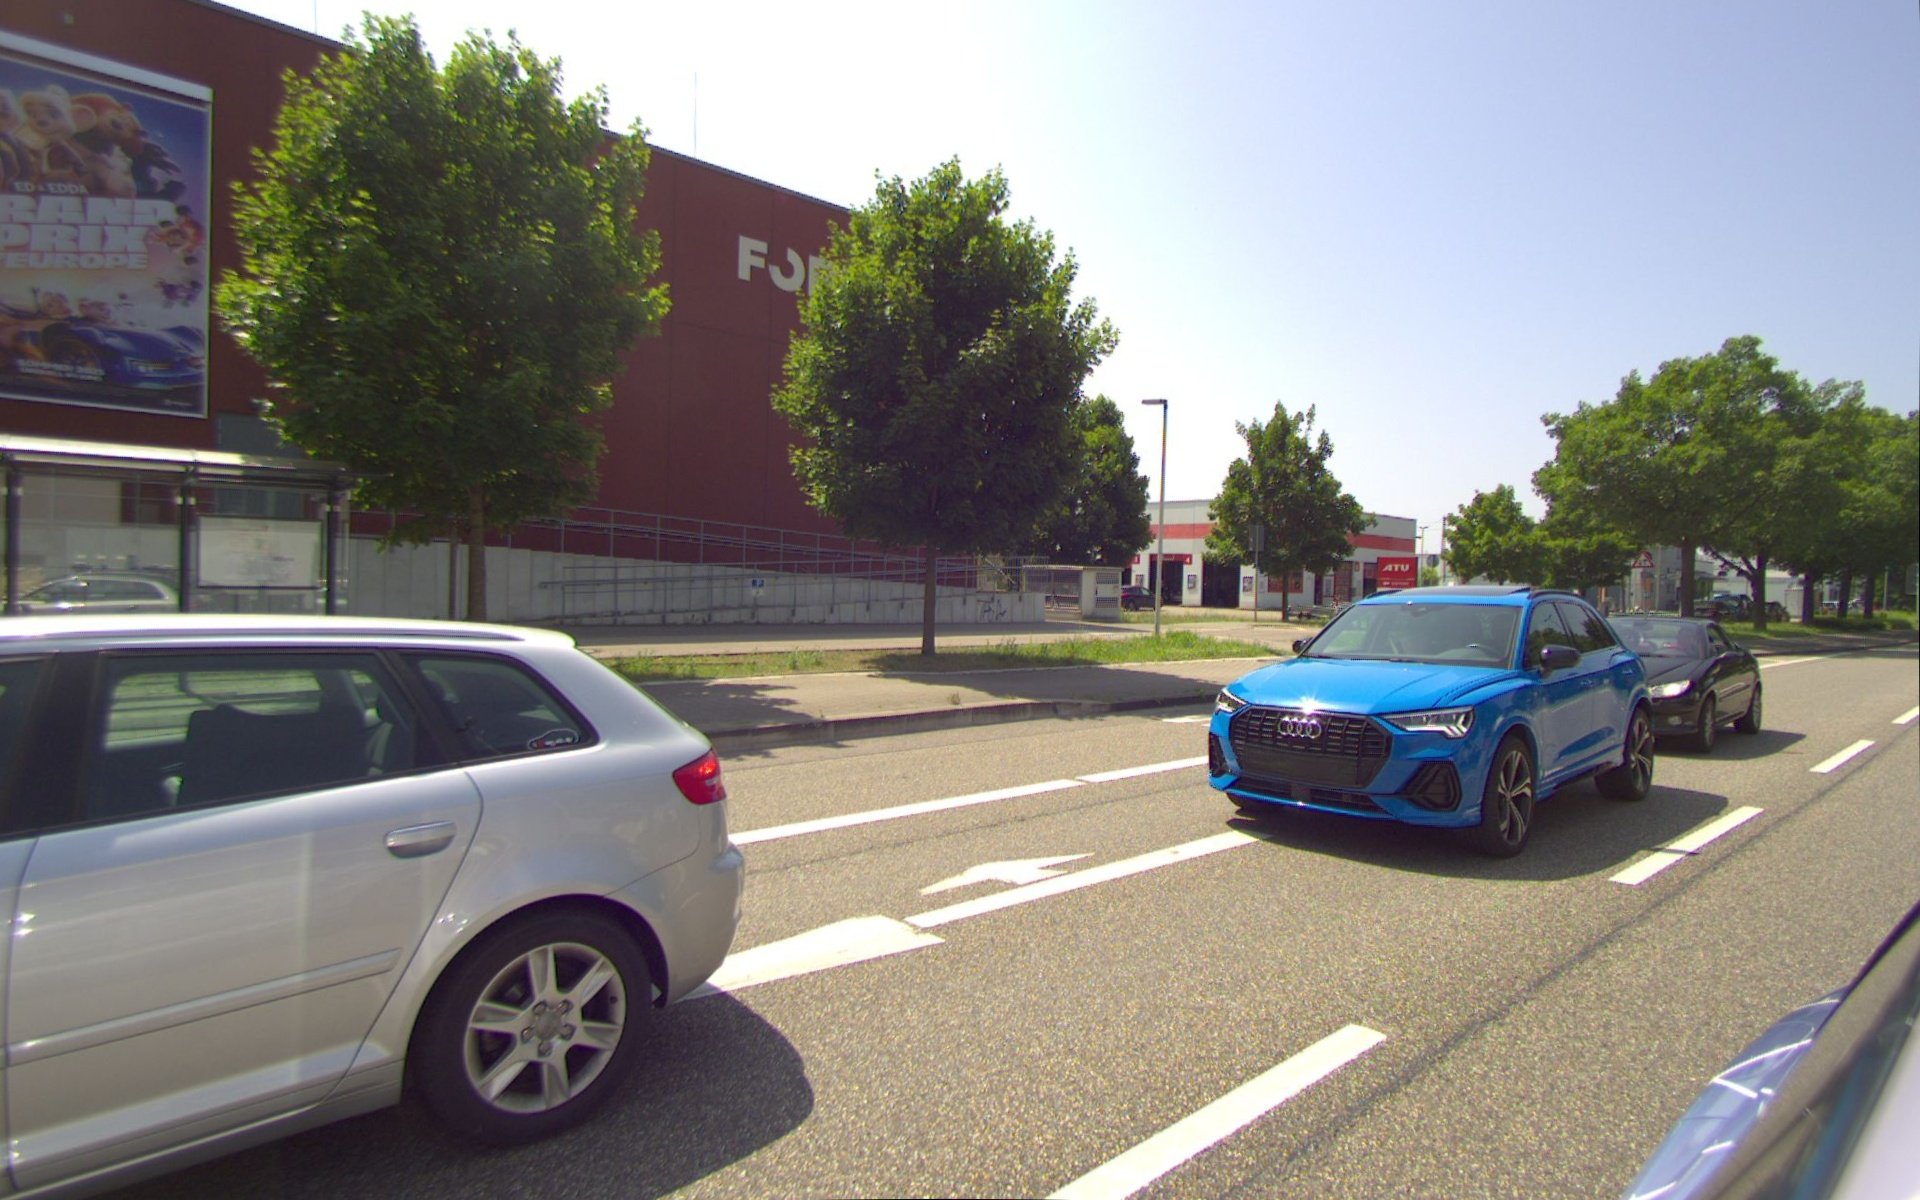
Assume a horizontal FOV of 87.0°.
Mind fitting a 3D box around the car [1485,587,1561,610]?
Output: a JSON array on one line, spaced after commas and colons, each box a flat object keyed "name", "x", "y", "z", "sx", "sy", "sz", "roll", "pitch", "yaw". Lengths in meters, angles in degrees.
[{"name": "car", "x": 36.224, "y": -0.128, "z": 65.188, "sx": 1.661, "sy": 1.317, "sz": 3.991, "roll": 1, "pitch": 2, "yaw": -44}]

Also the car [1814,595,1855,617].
[{"name": "car", "x": 64.577, "y": 0.450, "z": 74.718, "sx": 3.930, "sy": 1.485, "sz": 1.719, "roll": 1, "pitch": 1, "yaw": -41}]

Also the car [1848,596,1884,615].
[{"name": "car", "x": 75.148, "y": 0.440, "z": 83.927, "sx": 3.930, "sy": 1.485, "sz": 1.719, "roll": 1, "pitch": 1, "yaw": -41}]

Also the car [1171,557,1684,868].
[{"name": "car", "x": 3.609, "y": 0.571, "z": 7.399, "sx": 4.324, "sy": 1.616, "sz": 1.840, "roll": 0, "pitch": 1, "yaw": -42}]

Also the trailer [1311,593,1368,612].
[{"name": "trailer", "x": 17.573, "y": 0.111, "z": 46.882, "sx": 1.244, "sy": 0.771, "sz": 2.137, "roll": 1, "pitch": 1, "yaw": -39}]

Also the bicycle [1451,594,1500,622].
[{"name": "bicycle", "x": 22.155, "y": 0.338, "z": 43.479, "sx": 1.779, "sy": 1.138, "sz": 0.506, "roll": 3, "pitch": 1, "yaw": 43}]

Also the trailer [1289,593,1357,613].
[{"name": "trailer", "x": 16.278, "y": 0.132, "z": 45.434, "sx": 1.423, "sy": 0.771, "sz": 2.467, "roll": 1, "pitch": 1, "yaw": -39}]

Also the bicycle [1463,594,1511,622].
[{"name": "bicycle", "x": 23.209, "y": 0.351, "z": 44.589, "sx": 1.779, "sy": 1.138, "sz": 0.506, "roll": 3, "pitch": 1, "yaw": 43}]

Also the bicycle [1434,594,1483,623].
[{"name": "bicycle", "x": 21.024, "y": 0.341, "z": 42.706, "sx": 1.779, "sy": 1.138, "sz": 0.506, "roll": 3, "pitch": 1, "yaw": 43}]

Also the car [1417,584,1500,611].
[{"name": "car", "x": 29.004, "y": -0.152, "z": 58.948, "sx": 1.718, "sy": 1.419, "sz": 3.991, "roll": 1, "pitch": 2, "yaw": -44}]

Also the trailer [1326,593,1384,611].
[{"name": "trailer", "x": 18.755, "y": 0.091, "z": 48.076, "sx": 1.369, "sy": 0.771, "sz": 2.137, "roll": 1, "pitch": 1, "yaw": -39}]

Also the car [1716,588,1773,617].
[{"name": "car", "x": 43.326, "y": 0.120, "z": 55.870, "sx": 3.930, "sy": 1.485, "sz": 1.719, "roll": 1, "pitch": 1, "yaw": -41}]

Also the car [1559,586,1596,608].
[{"name": "car", "x": 48.198, "y": -0.261, "z": 78.973, "sx": 1.753, "sy": 1.616, "sz": 3.940, "roll": 2, "pitch": 1, "yaw": 42}]

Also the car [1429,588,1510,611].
[{"name": "car", "x": 30.525, "y": -0.038, "z": 60.746, "sx": 1.718, "sy": 1.223, "sz": 3.991, "roll": 1, "pitch": 2, "yaw": -44}]

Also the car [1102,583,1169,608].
[{"name": "car", "x": 10.323, "y": -0.243, "z": 59.526, "sx": 4.074, "sy": 1.390, "sz": 1.716, "roll": 0, "pitch": 2, "yaw": -42}]

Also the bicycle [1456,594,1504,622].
[{"name": "bicycle", "x": 22.623, "y": 0.358, "z": 44.019, "sx": 1.779, "sy": 1.138, "sz": 0.506, "roll": 3, "pitch": 1, "yaw": 43}]

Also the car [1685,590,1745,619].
[{"name": "car", "x": 38.702, "y": 0.250, "z": 51.858, "sx": 3.930, "sy": 1.388, "sz": 1.641, "roll": 1, "pitch": 1, "yaw": -41}]

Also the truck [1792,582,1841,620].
[{"name": "truck", "x": 60.163, "y": 0.067, "z": 71.070, "sx": 3.928, "sy": 2.599, "sz": 1.904, "roll": 1, "pitch": 1, "yaw": -40}]

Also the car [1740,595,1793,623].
[{"name": "car", "x": 47.165, "y": 0.496, "z": 59.191, "sx": 3.930, "sy": 1.539, "sz": 1.719, "roll": 1, "pitch": 1, "yaw": -41}]

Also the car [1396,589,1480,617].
[{"name": "car", "x": 27.212, "y": 0.142, "z": 57.664, "sx": 1.718, "sy": 1.419, "sz": 3.992, "roll": 1, "pitch": 2, "yaw": -43}]

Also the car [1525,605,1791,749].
[{"name": "car", "x": 8.047, "y": 0.741, "z": 11.532, "sx": 3.931, "sy": 1.361, "sz": 1.640, "roll": 1, "pitch": -1, "yaw": -42}]

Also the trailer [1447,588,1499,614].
[{"name": "trailer", "x": 33.073, "y": 0.063, "z": 65.276, "sx": 1.391, "sy": 1.546, "sz": 2.638, "roll": 1, "pitch": 1, "yaw": -43}]

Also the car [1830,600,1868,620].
[{"name": "car", "x": 69.542, "y": 0.792, "z": 79.128, "sx": 3.930, "sy": 1.485, "sz": 1.719, "roll": 1, "pitch": 1, "yaw": -41}]

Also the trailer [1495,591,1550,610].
[{"name": "trailer", "x": 35.128, "y": 0.024, "z": 63.179, "sx": 1.551, "sy": 1.065, "sz": 2.638, "roll": 1, "pitch": 2, "yaw": -43}]

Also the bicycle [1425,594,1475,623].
[{"name": "bicycle", "x": 20.510, "y": 0.353, "z": 42.360, "sx": 1.779, "sy": 1.138, "sz": 0.506, "roll": 3, "pitch": 1, "yaw": 43}]

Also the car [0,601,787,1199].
[{"name": "car", "x": -2.596, "y": 0.693, "z": 2.494, "sx": 4.022, "sy": 1.379, "sz": 1.714, "roll": 0, "pitch": 0, "yaw": -43}]

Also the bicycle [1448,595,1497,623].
[{"name": "bicycle", "x": 21.746, "y": 0.377, "z": 42.988, "sx": 1.779, "sy": 1.138, "sz": 0.506, "roll": 3, "pitch": 1, "yaw": 43}]

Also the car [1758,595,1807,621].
[{"name": "car", "x": 51.542, "y": 0.480, "z": 63.407, "sx": 3.930, "sy": 1.532, "sz": 1.719, "roll": 1, "pitch": 1, "yaw": -41}]
